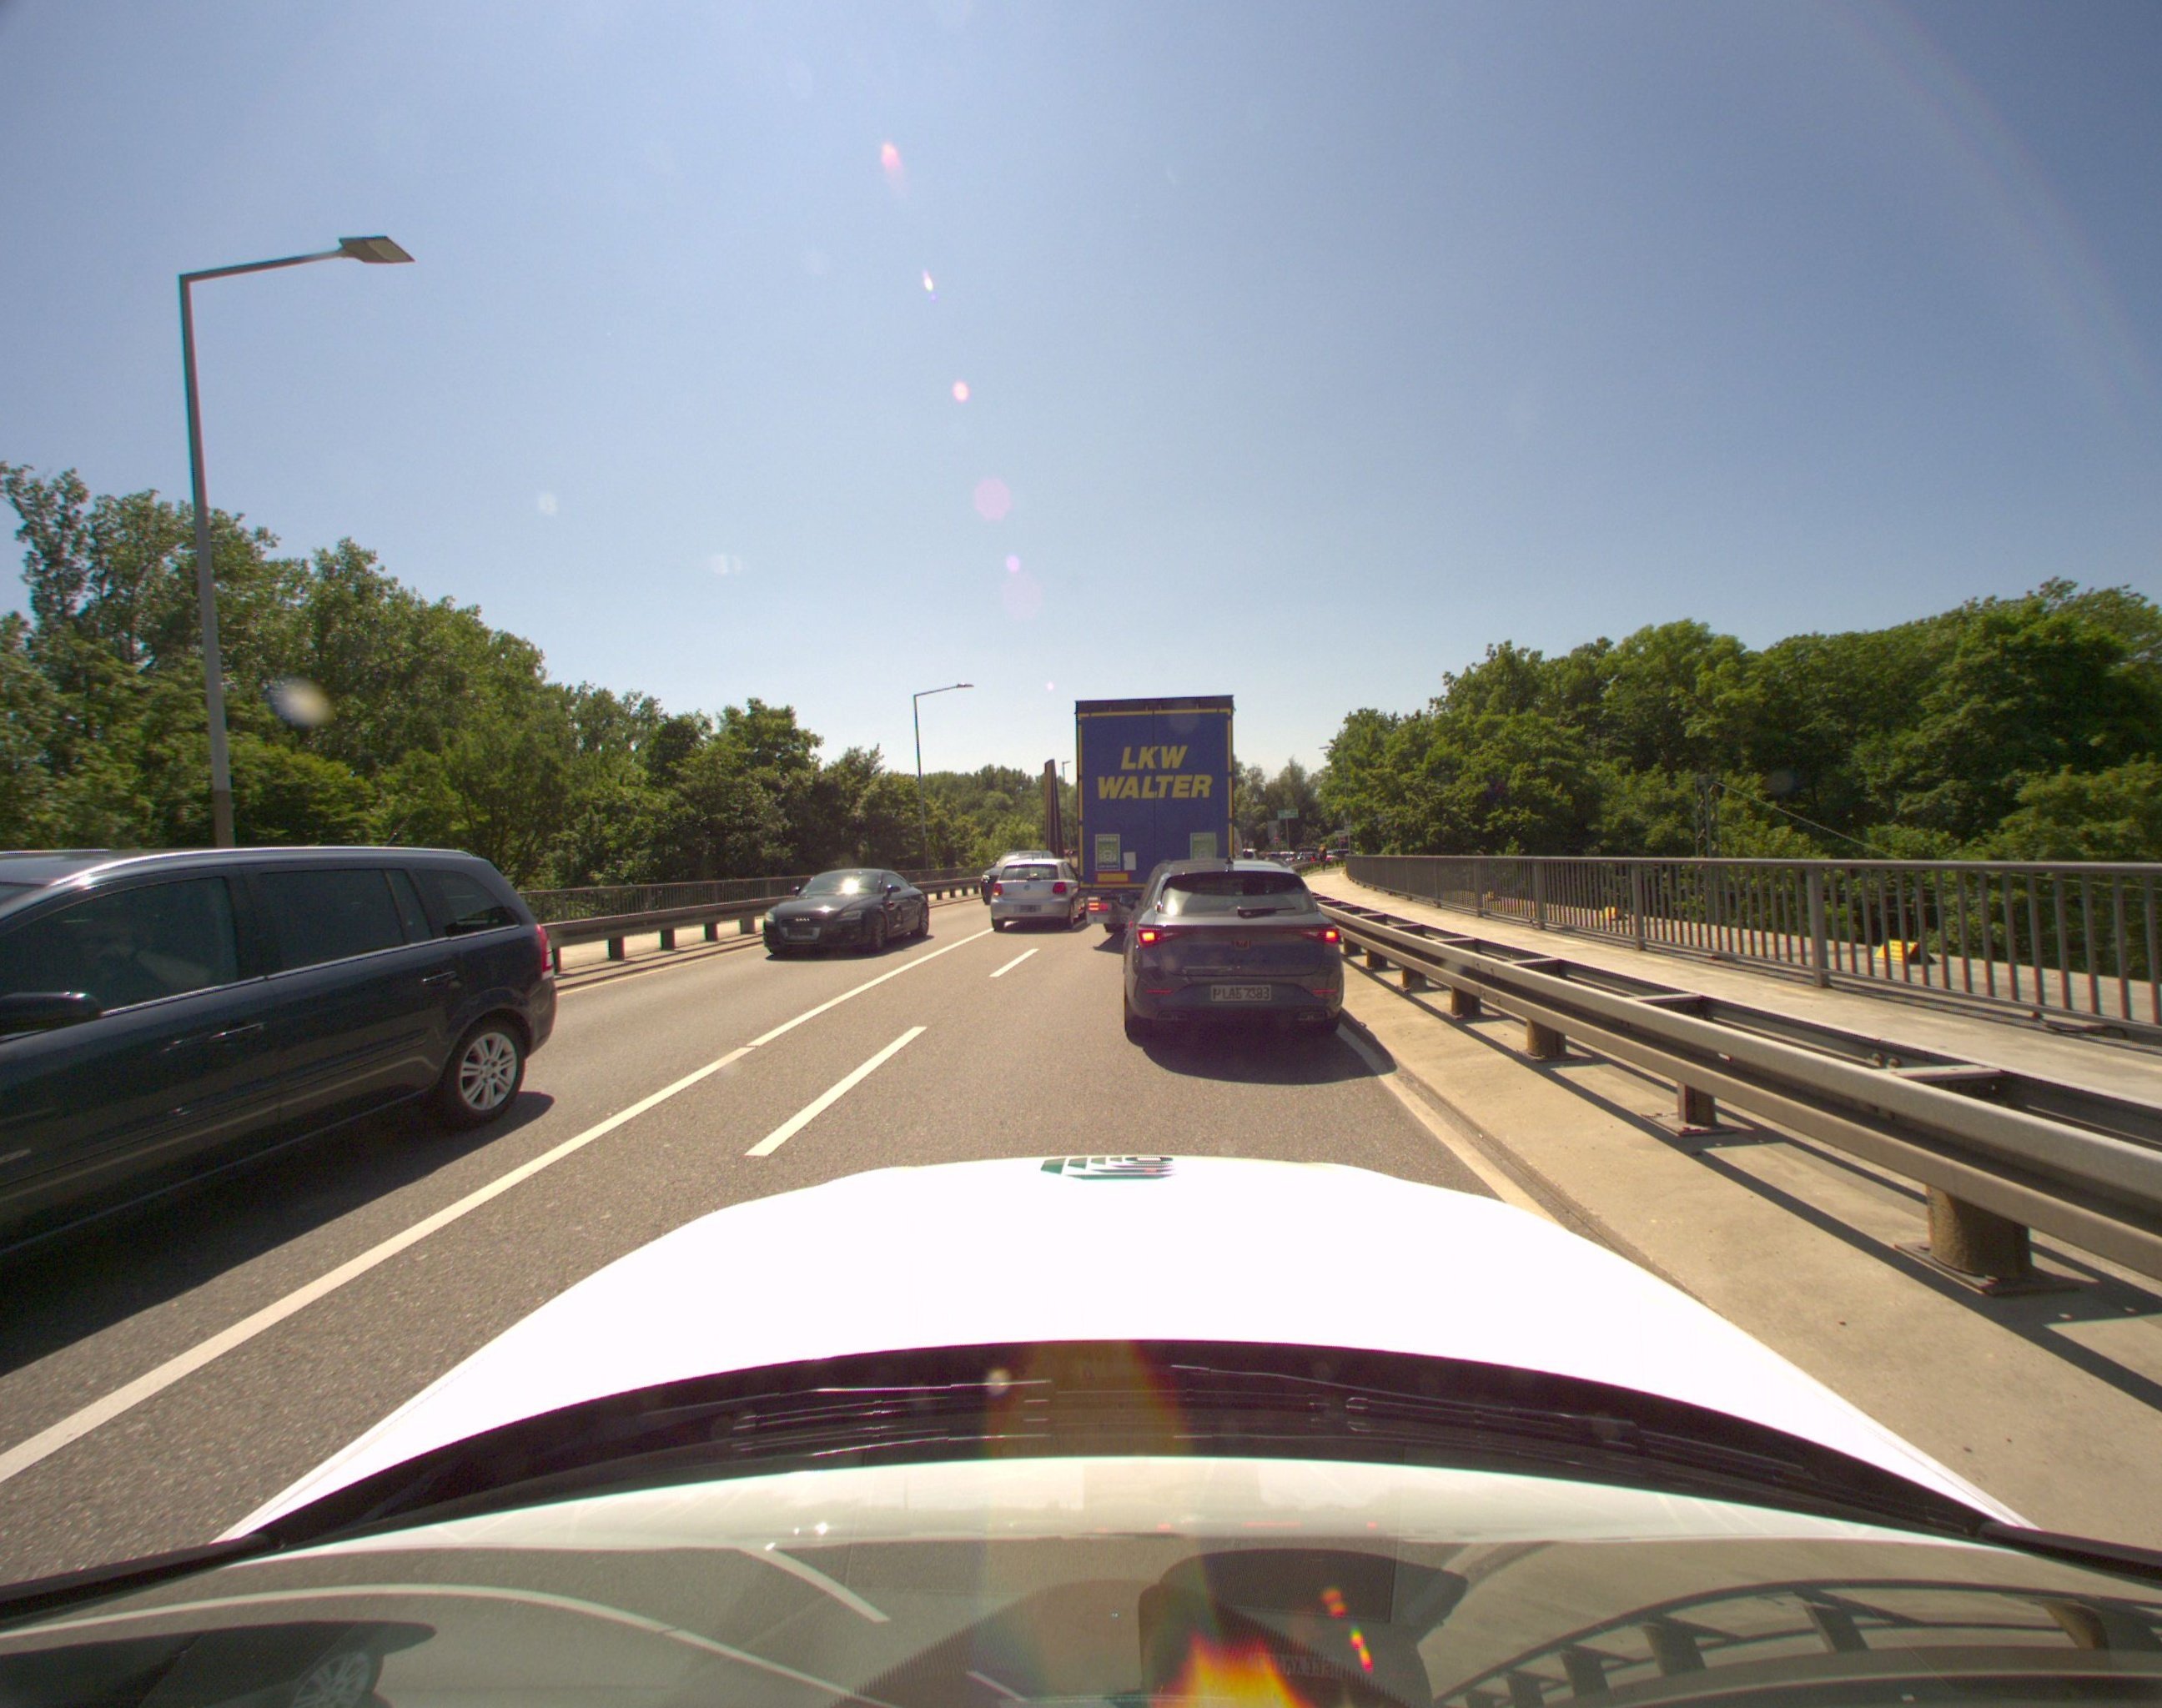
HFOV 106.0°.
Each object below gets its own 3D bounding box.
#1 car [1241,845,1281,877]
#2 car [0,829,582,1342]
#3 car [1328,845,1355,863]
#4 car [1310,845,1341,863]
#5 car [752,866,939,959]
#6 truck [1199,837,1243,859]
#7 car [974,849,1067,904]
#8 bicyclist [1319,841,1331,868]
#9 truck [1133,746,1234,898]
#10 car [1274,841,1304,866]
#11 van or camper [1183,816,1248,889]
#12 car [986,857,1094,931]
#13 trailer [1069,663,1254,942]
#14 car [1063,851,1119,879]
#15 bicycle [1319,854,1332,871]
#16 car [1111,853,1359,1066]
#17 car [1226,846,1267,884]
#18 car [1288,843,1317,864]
[{"bbox_3d":[10.787,0.362,48.663,1.706,1.802,4.021,-1,0,20],"label":"car"},{"bbox_3d":[-4.273,0.746,3.367,1.700,1.626,4.254,-1,0,1],"label":"car"},{"bbox_3d":[25.975,-0.004,81.249,1.669,1.760,4.025,-1,-1,31],"label":"car"},{"bbox_3d":[22.653,0.042,75.412,1.975,1.575,4.024,0,-1,29],"label":"car"},{"bbox_3d":[-3.899,0.916,14.221,1.669,1.308,3.980,-1,0,7],"label":"car"},{"bbox_3d":[19.898,-0.832,116.213,2.355,2.873,5.868,-1,0,-43],"label":"truck"},{"bbox_3d":[-1.958,0.695,27.922,1.953,1.673,4.628,-2,0,11],"label":"car"},{"bbox_3d":[15.510,0.039,51.836,0.574,1.683,0.732,-4,-1,12],"label":"bicyclist"},{"bbox_3d":[3.549,-0.953,27.216,2.887,4.418,6.573,-1,0,9],"label":"truck"},{"bbox_3d":[16.020,-0.044,62.725,1.706,1.844,4.021,-1,0,21],"label":"car"},{"bbox_3d":[5.926,-0.078,35.190,2.138,2.815,6.413,-1,0,15],"label":"van or camper"},{"bbox_3d":[-0.782,0.799,18.022,1.668,1.411,3.983,-1,0,7],"label":"car"},{"bbox_3d":[2.245,-0.837,19.264,2.887,4.418,12.464,-1,0,9],"label":"trailer"},{"bbox_3d":[0.640,0.604,46.686,1.695,1.469,4.483,-1,0,21],"label":"car"},{"bbox_3d":[15.545,0.515,51.835,0.578,1.035,1.490,-4,-1,12],"label":"bicycle"},{"bbox_3d":[1.252,0.738,7.637,1.669,1.456,3.964,-1,0,5],"label":"car"},{"bbox_3d":[8.691,0.525,42.534,1.707,1.844,4.018,-1,1,17],"label":"car"},{"bbox_3d":[18.904,-0.034,69.328,1.670,1.760,4.023,-1,-1,26],"label":"car"}]
